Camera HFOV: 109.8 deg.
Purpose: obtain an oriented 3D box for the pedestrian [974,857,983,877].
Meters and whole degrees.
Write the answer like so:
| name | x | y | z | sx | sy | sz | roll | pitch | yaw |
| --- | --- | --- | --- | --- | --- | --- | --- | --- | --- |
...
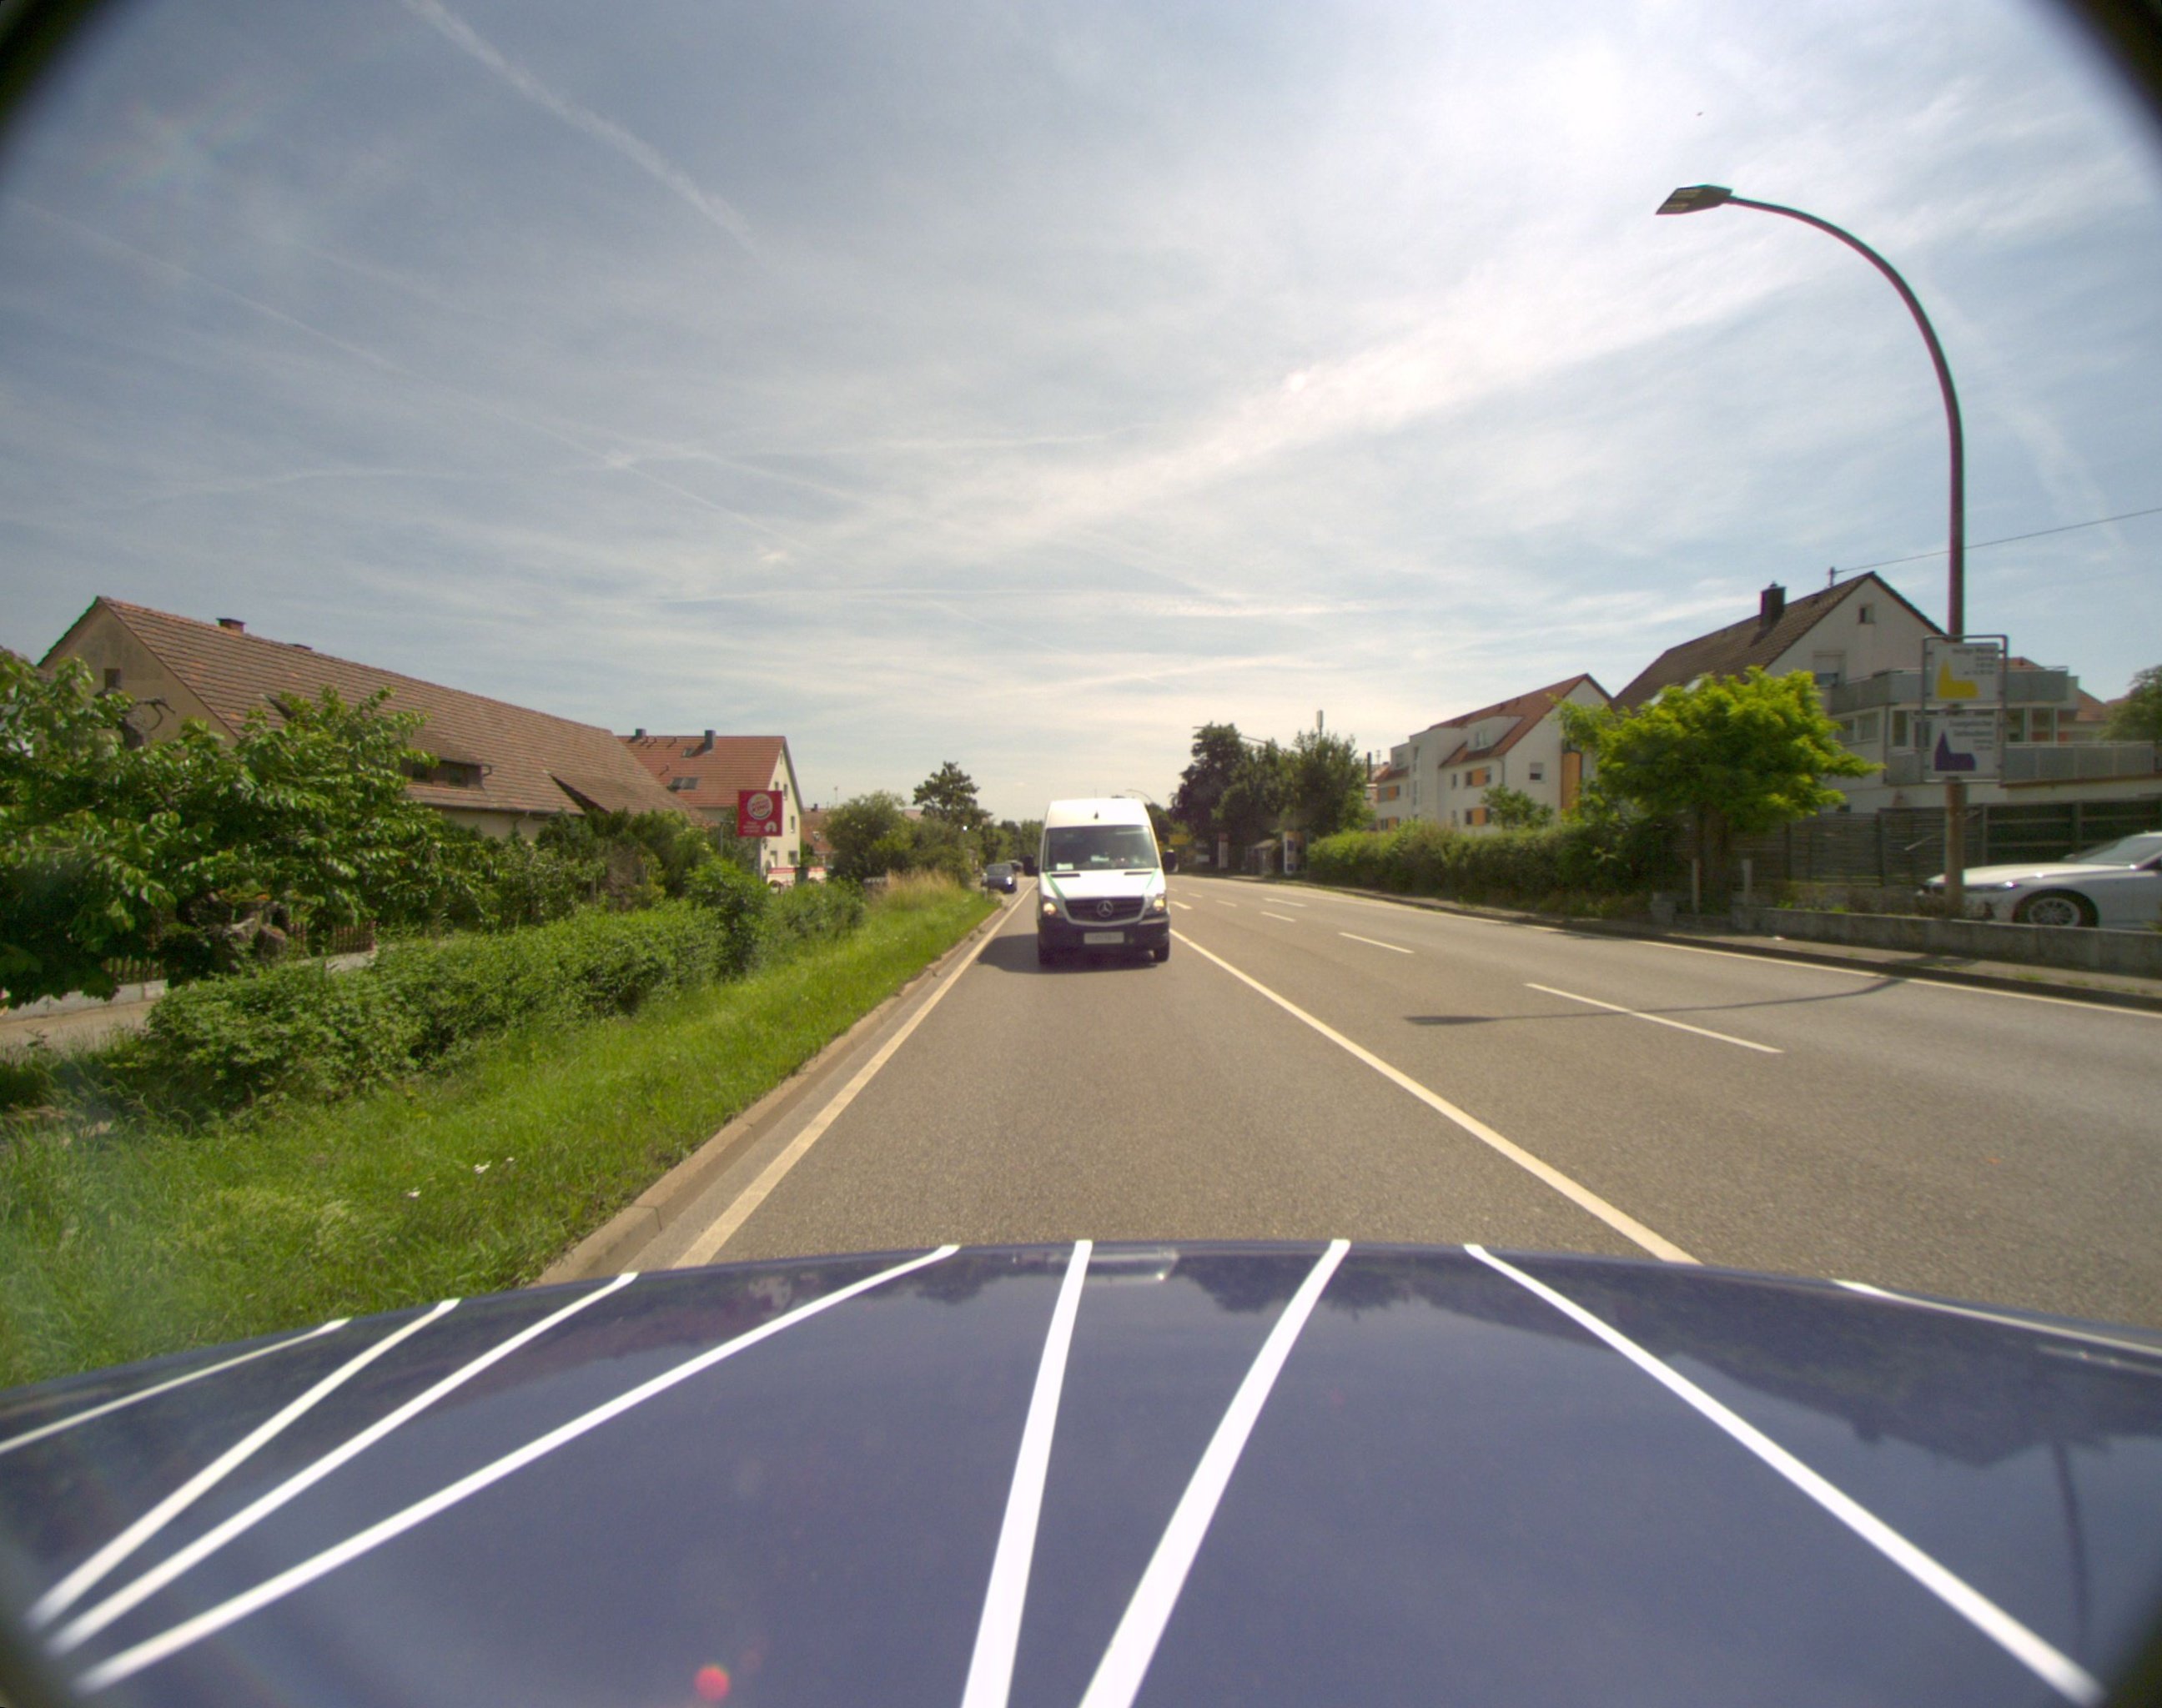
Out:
| name | x | y | z | sx | sy | sz | roll | pitch | yaw |
| --- | --- | --- | --- | --- | --- | --- | --- | --- | --- |
| pedestrian | -7.747 | 0.972 | 57.331 | 0.522 | 1.540 | 0.562 | -2 | 1 | -20 |

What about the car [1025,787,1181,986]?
| name | x | y | z | sx | sy | sz | roll | pitch | yaw |
| --- | --- | --- | --- | --- | --- | --- | --- | --- | --- |
| car | 0.244 | 0.418 | 12.639 | 1.939 | 2.514 | 5.748 | -2 | 0 | -1 |

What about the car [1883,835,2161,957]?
| name | x | y | z | sx | sy | sz | roll | pitch | yaw |
| --- | --- | --- | --- | --- | --- | --- | --- | --- | --- |
| car | 14.126 | 0.506 | 9.969 | 4.569 | 1.439 | 1.860 | -3 | 1 | 28 |

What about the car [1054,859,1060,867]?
| name | x | y | z | sx | sy | sz | roll | pitch | yaw |
| --- | --- | --- | --- | --- | --- | --- | --- | --- | --- |
| car | -8.235 | 3.053 | 261.481 | 1.999 | 2.573 | 3.999 | -2 | 1 | -1 |

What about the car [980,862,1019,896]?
| name | x | y | z | sx | sy | sz | roll | pitch | yaw |
| --- | --- | --- | --- | --- | --- | --- | --- | --- | --- |
| car | -4.090 | 1.210 | 38.602 | 1.636 | 1.476 | 3.551 | -4 | 1 | -2 |
